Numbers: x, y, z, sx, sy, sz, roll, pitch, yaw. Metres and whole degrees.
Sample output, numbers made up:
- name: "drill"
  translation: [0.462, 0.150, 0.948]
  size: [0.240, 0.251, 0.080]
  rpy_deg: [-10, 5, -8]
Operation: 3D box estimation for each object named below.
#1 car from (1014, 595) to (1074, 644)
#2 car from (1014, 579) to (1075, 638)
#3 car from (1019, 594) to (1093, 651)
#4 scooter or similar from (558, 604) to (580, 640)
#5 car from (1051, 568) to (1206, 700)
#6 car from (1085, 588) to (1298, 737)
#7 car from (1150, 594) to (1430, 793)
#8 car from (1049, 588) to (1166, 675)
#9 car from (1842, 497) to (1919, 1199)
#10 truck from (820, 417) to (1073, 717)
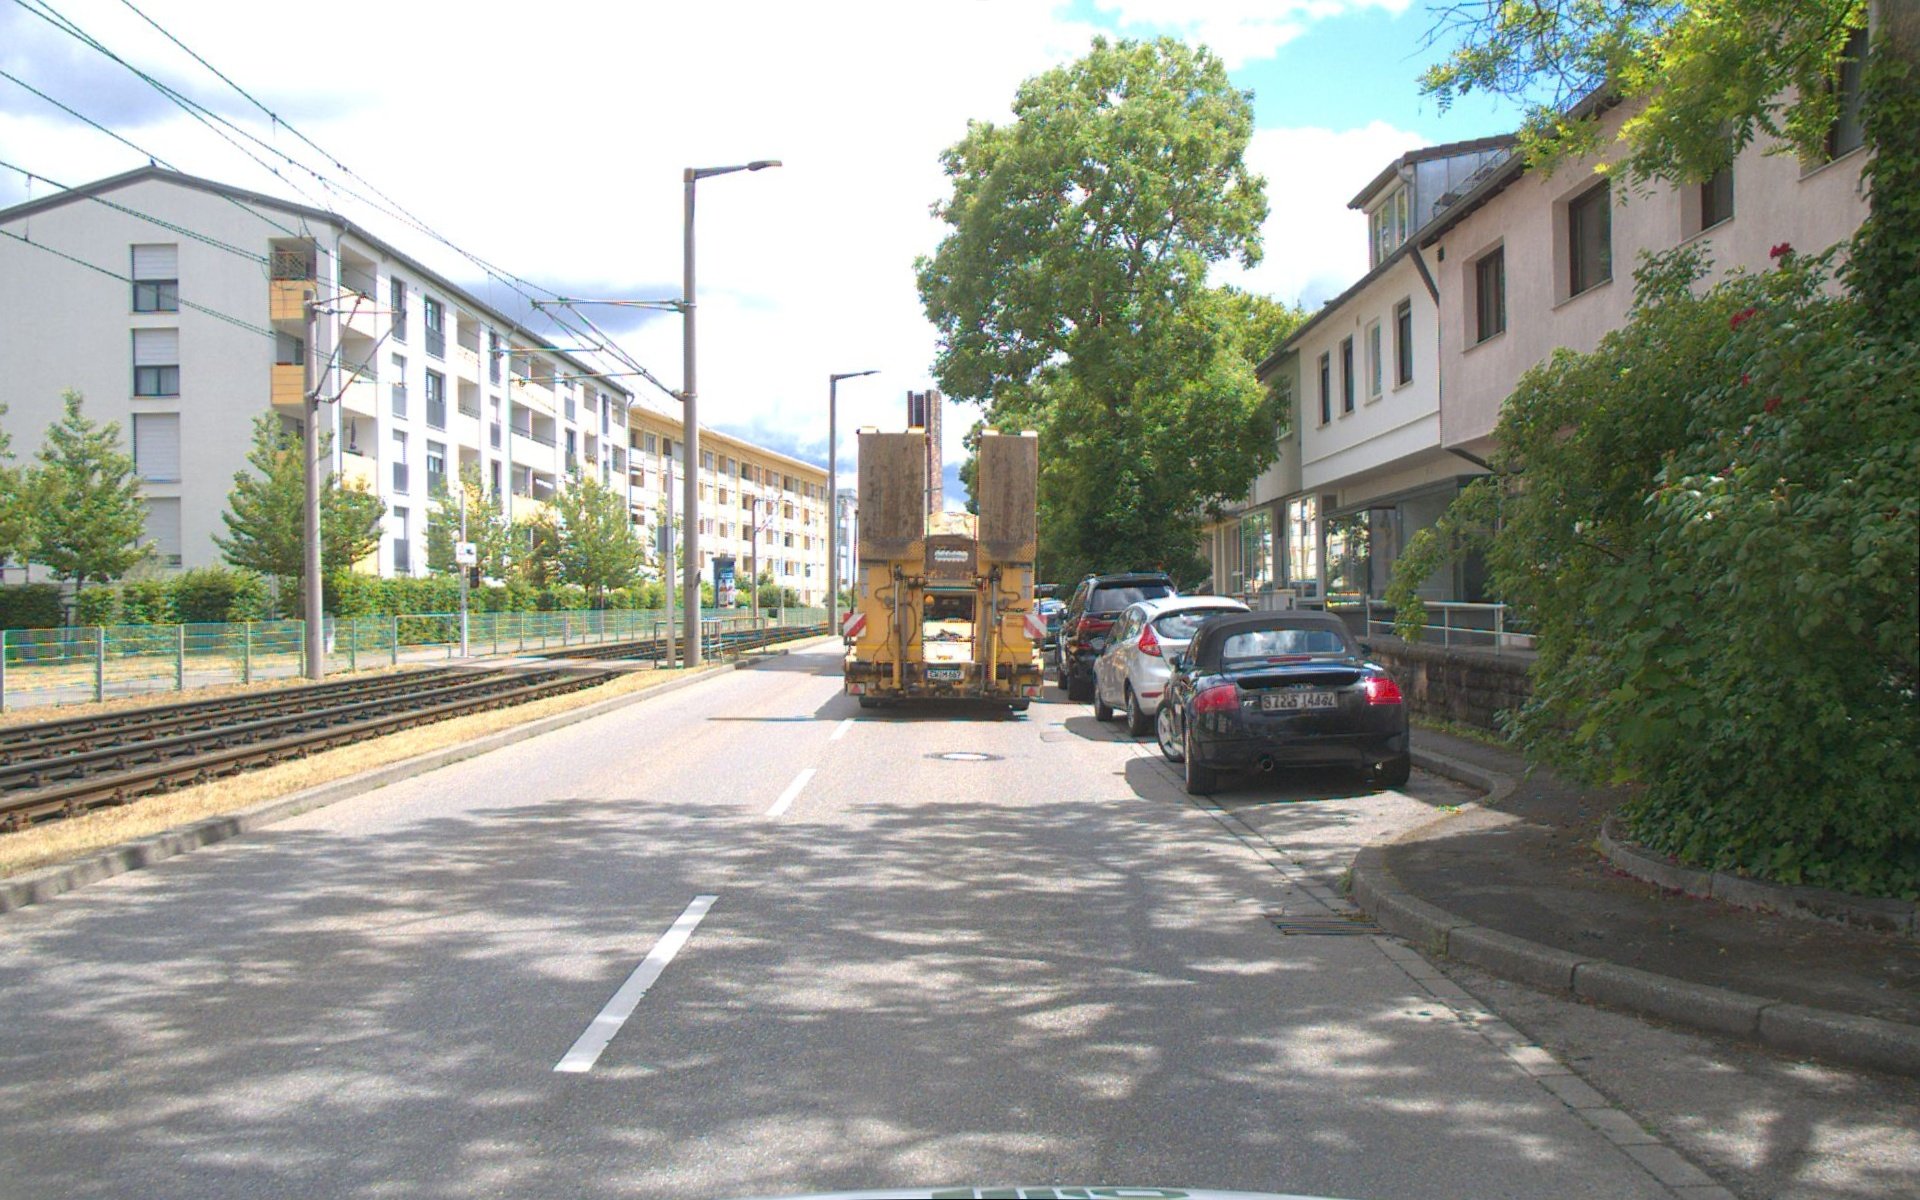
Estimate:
- name: "car"
  translation: [2.676, 0.594, 53.578]
  size: [1.719, 1.467, 4.341]
  rpy_deg: [-2, 0, 1]
- name: "car"
  translation: [3.032, 0.292, 60.124]
  size: [1.875, 1.993, 5.744]
  rpy_deg: [-1, 0, 0]
- name: "car"
  translation: [2.672, 0.607, 46.823]
  size: [1.719, 1.467, 4.492]
  rpy_deg: [-1, 0, -1]
- name: "scooter or similar"
  translation: [-14.545, 0.810, 61.487]
  size: [0.480, 1.315, 1.302]
  rpy_deg: [0, 0, 1]
- name: "car"
  translation: [2.536, 0.482, 26.074]
  size: [1.973, 1.820, 5.076]
  rpy_deg: [-1, 0, 1]
- name: "car"
  translation: [2.589, 0.661, 19.348]
  size: [1.736, 1.467, 3.897]
  rpy_deg: [-3, 0, -2]
- name: "car"
  translation: [2.646, 0.683, 14.123]
  size: [1.734, 1.373, 4.002]
  rpy_deg: [-3, 0, 3]
- name: "car"
  translation: [2.798, 0.575, 32.163]
  size: [1.797, 1.532, 4.241]
  rpy_deg: [-1, 0, -1]
- name: "car"
  translation: [2.899, 0.626, 1.468]
  size: [1.800, 1.672, 4.428]
  rpy_deg: [0, 0, -1]
- name: "truck"
  translation: [-0.239, -0.417, 26.332]
  size: [3.060, 3.627, 12.457]
  rpy_deg: [0, 0, -1]
